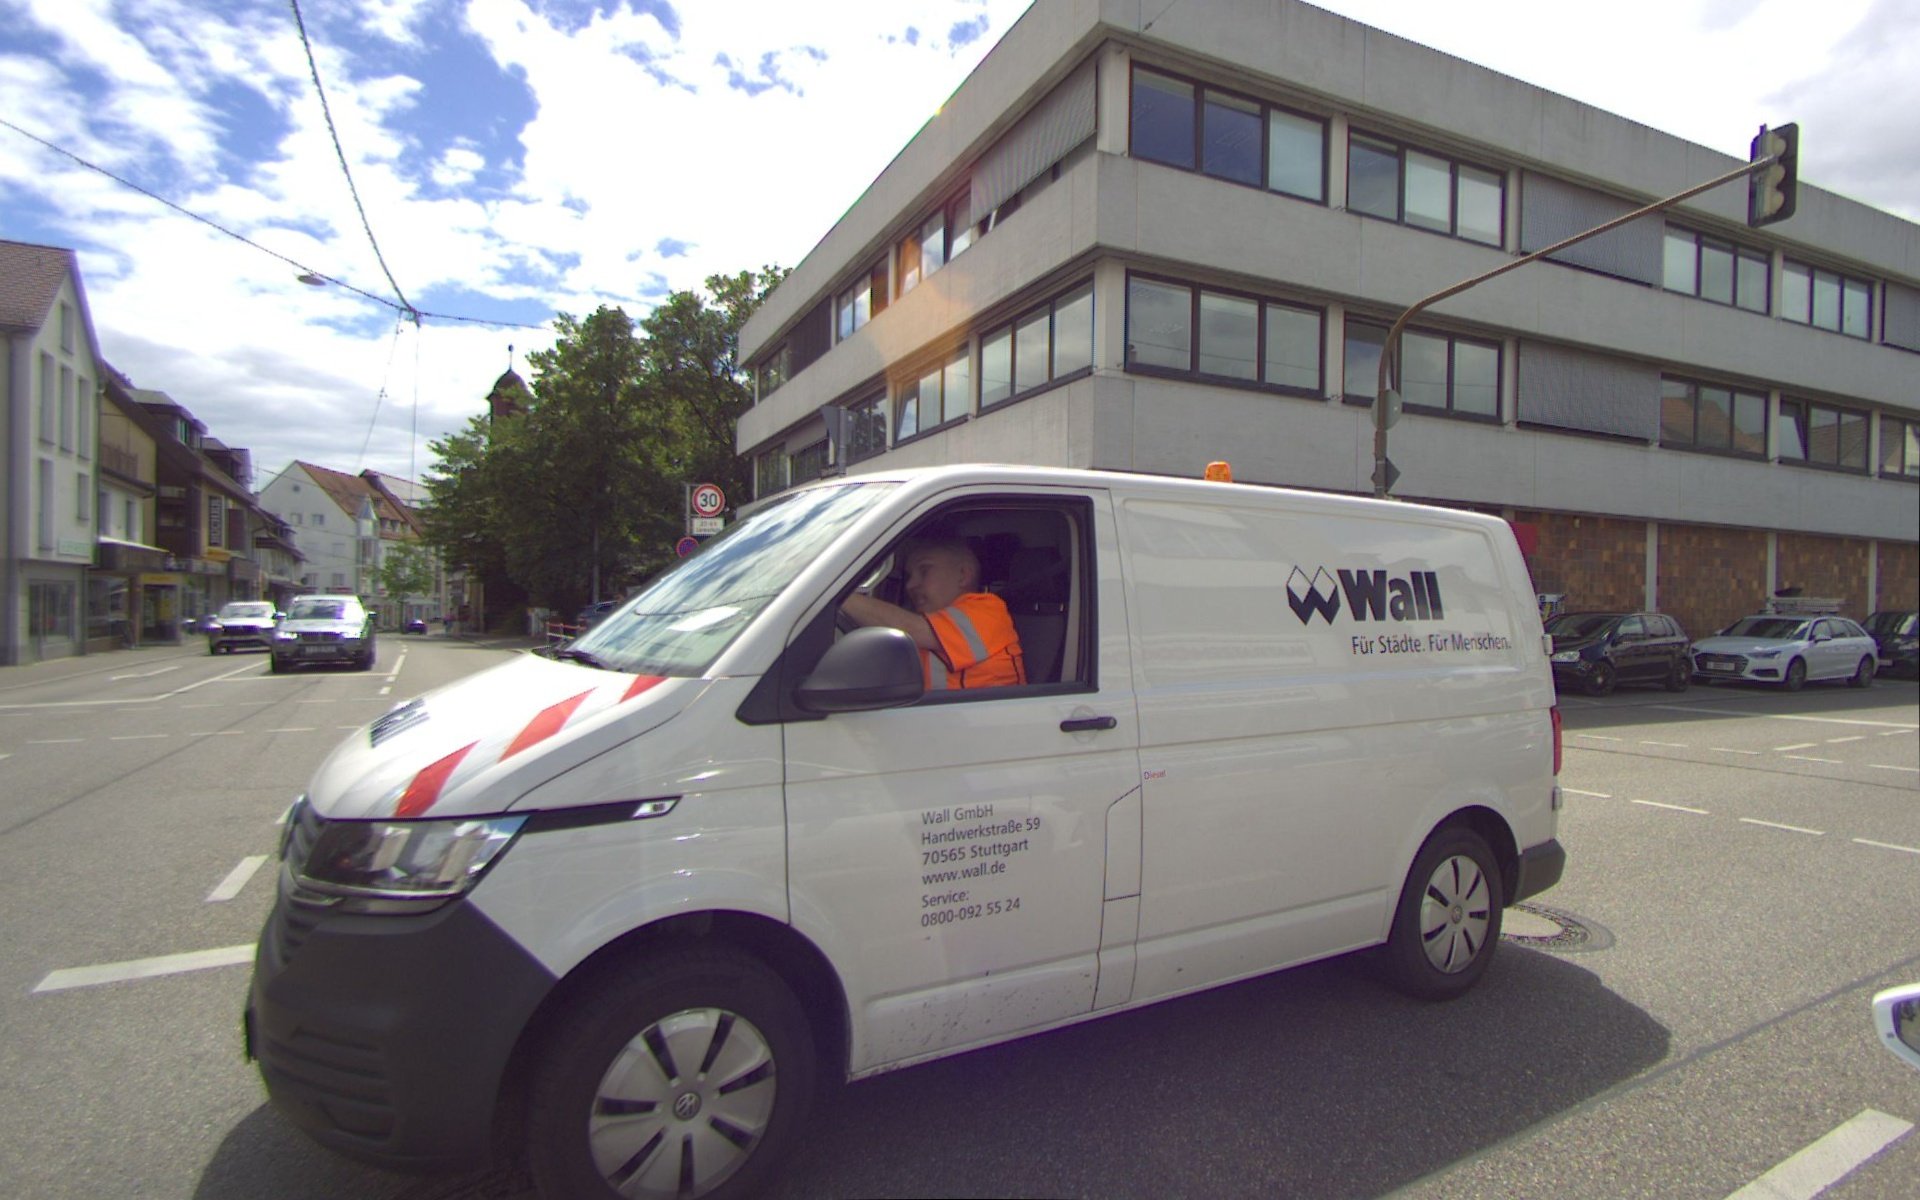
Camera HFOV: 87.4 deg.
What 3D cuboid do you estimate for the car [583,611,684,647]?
[{"bbox_3d":[-12.704,1.088,39.108,3.670,1.339,1.775,0,-1,-21],"label":"car"}]

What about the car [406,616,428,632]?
[{"bbox_3d":[-52.237,2.254,96.669,1.472,1.499,3.166,0,-1,-35],"label":"car"}]

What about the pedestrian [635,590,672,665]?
[{"bbox_3d":[-7.727,0.681,25.311,0.671,1.860,0.727,0,0,-38],"label":"pedestrian"}]

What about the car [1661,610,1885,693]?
[{"bbox_3d":[16.575,0.974,20.459,4.384,1.463,1.897,0,2,-27],"label":"car"}]

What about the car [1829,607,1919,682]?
[{"bbox_3d":[21.722,0.974,23.196,2.909,1.564,1.600,0,2,-30],"label":"car"}]

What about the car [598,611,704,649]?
[{"bbox_3d":[-11.479,1.074,37.339,3.670,1.338,1.775,0,0,-21],"label":"car"}]

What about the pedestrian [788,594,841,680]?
[{"bbox_3d":[-2.844,0.711,19.651,0.712,1.618,0.695,2,0,33],"label":"pedestrian"}]

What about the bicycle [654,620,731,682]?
[{"bbox_3d":[-5.278,0.981,19.752,0.769,1.157,1.866,1,-2,-40],"label":"bicycle"}]

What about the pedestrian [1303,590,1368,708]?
[{"bbox_3d":[5.468,0.699,14.639,0.652,1.663,0.616,0,0,-29],"label":"pedestrian"}]

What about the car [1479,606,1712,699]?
[{"bbox_3d":[11.666,0.898,18.420,4.034,1.484,1.778,1,1,-27],"label":"car"}]

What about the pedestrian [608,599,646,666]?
[{"bbox_3d":[-8.109,0.770,24.448,0.671,1.598,0.727,0,0,-38],"label":"pedestrian"}]

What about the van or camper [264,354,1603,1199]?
[{"bbox_3d":[0.259,0.487,3.847,4.637,1.923,1.855,-1,1,-31],"label":"van or camper"}]

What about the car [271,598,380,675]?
[{"bbox_3d":[-14.325,0.777,22.874,1.898,1.595,3.969,0,-1,-30],"label":"car"}]

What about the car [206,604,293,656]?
[{"bbox_3d":[-23.311,0.953,33.116,1.898,1.595,4.296,0,-1,-29],"label":"car"}]
